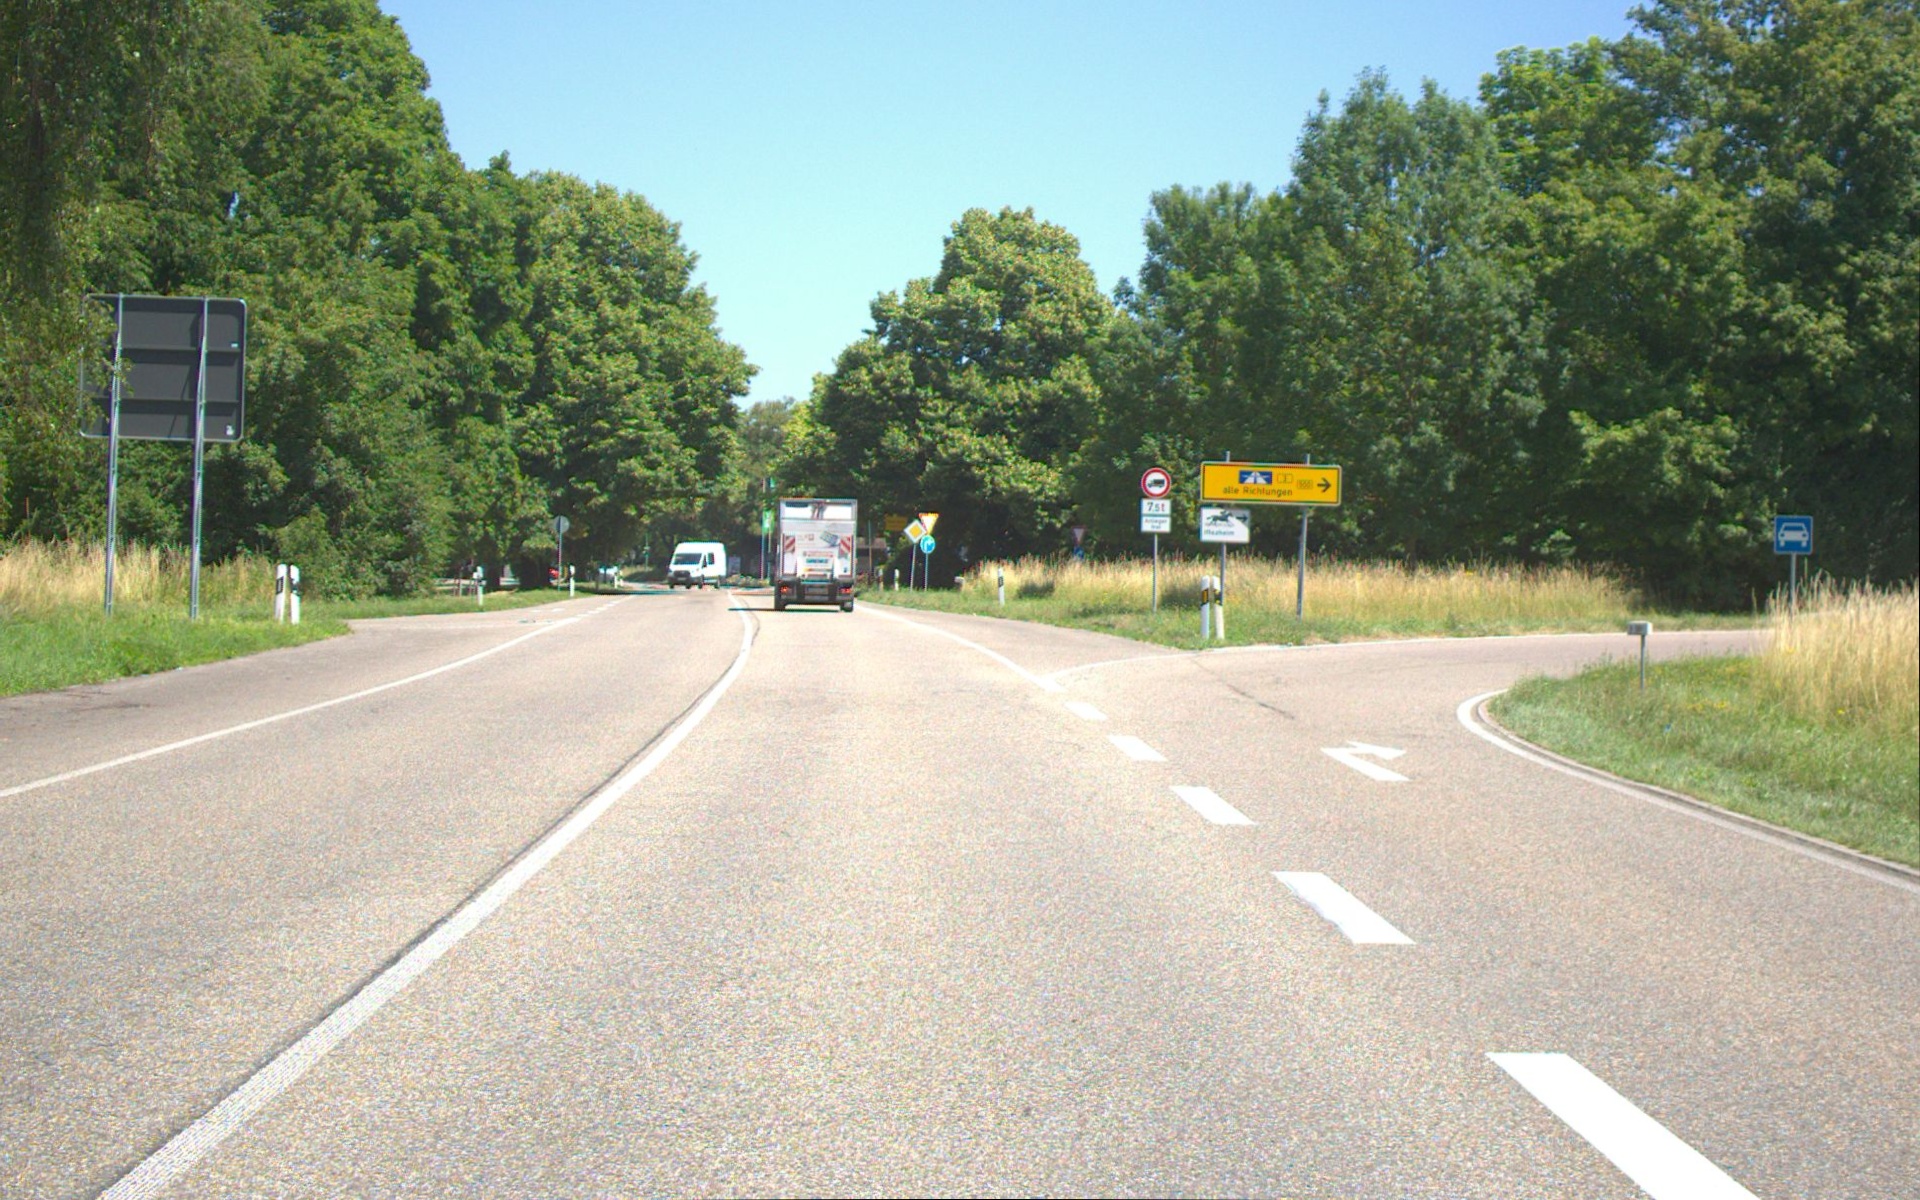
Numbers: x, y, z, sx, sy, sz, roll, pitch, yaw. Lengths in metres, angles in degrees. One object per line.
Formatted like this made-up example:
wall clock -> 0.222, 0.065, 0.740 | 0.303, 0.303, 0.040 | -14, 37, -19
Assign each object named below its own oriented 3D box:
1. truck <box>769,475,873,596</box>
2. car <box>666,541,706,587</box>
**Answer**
truck -> -3.687, -1.736, 91.958 | 2.533, 3.124, 5.361 | 1, 1, 0
car -> -16.096, -2.100, 202.183 | 2.073, 2.618, 6.784 | 1, 0, -2
